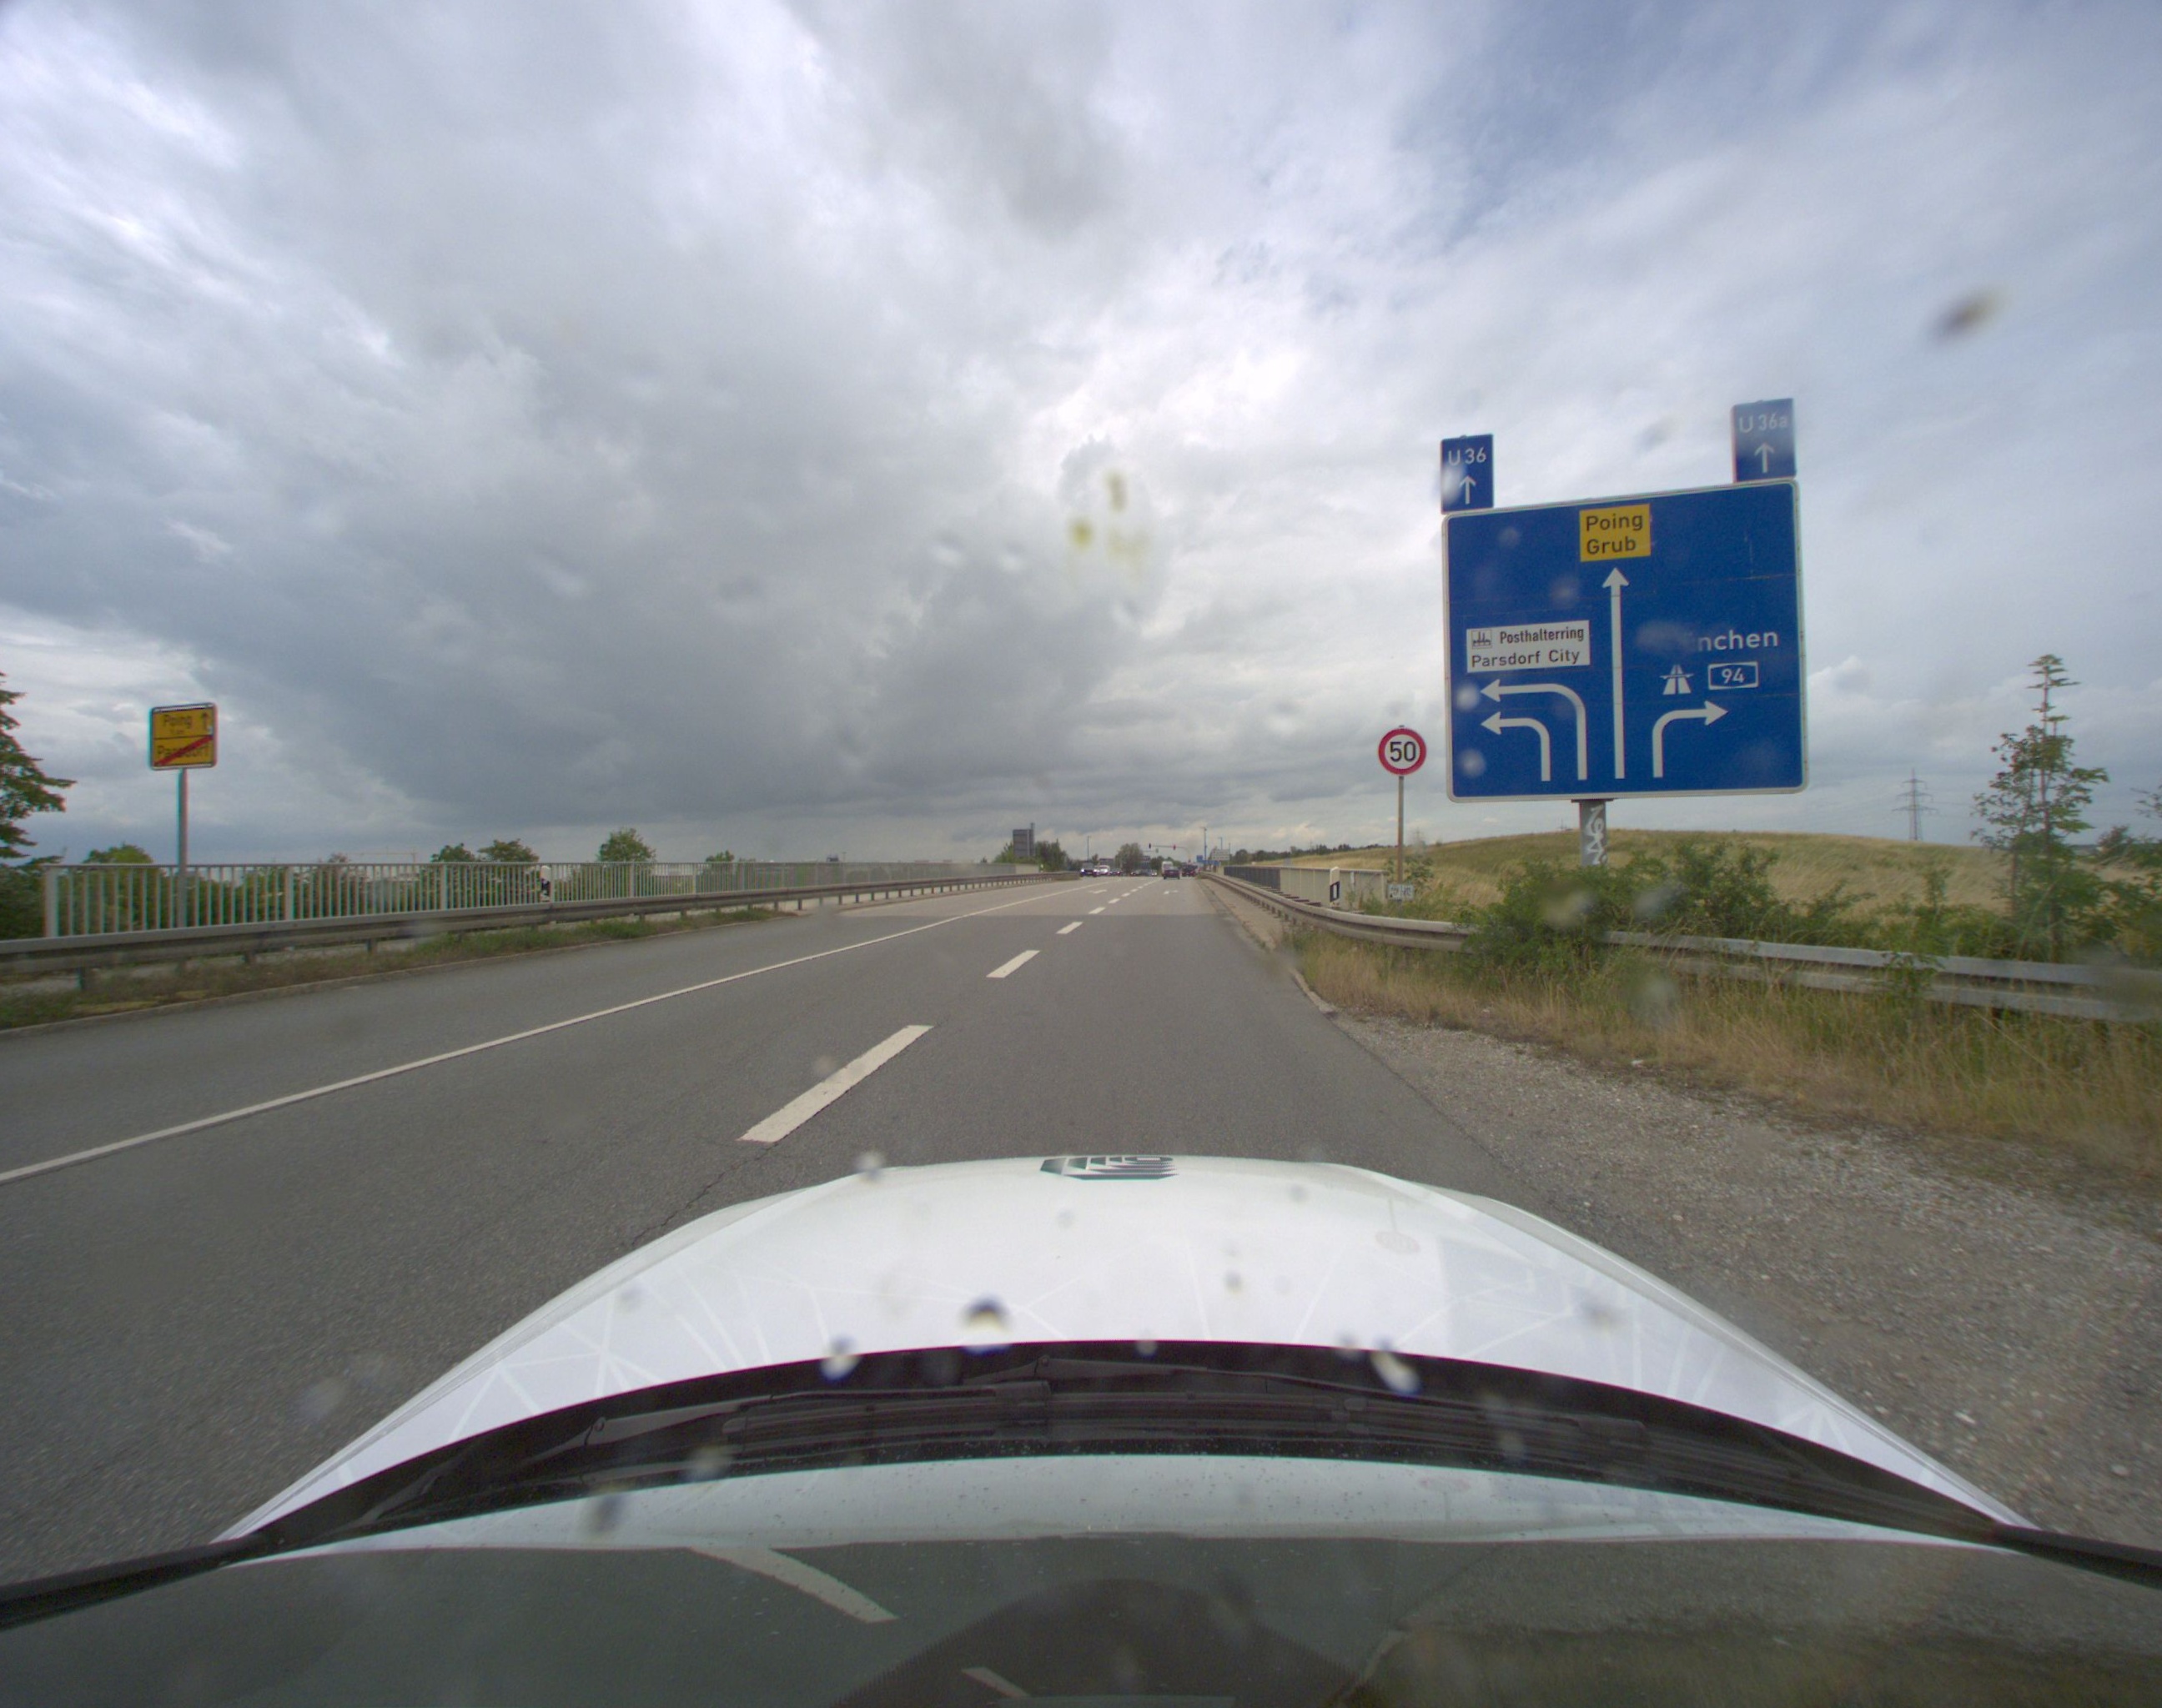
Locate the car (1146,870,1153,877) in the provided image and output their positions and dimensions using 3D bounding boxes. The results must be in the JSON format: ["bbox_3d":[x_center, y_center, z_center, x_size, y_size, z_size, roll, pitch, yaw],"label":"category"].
[{"bbox_3d":[16.812,4.709,199.700,1.685,1.368,3.950,0,2,6],"label":"car"}]

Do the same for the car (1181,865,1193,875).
[{"bbox_3d":[16.624,2.486,127.589,1.671,1.544,3.626,0,-1,11],"label":"car"}]

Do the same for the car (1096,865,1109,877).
[{"bbox_3d":[3.643,2.857,135.331,1.944,1.875,4.825,1,-2,4],"label":"car"}]

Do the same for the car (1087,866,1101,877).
[{"bbox_3d":[1.862,2.540,115.821,1.704,1.487,4.284,1,-2,4],"label":"car"}]

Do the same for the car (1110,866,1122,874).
[{"bbox_3d":[6.521,2.991,152.284,1.572,1.558,4.159,1,-1,12],"label":"car"}]

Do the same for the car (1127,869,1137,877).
[{"bbox_3d":[10.396,3.867,165.408,1.799,1.368,4.795,1,3,6],"label":"car"}]

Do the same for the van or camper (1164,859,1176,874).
[{"bbox_3d":[15.355,2.199,140.680,1.866,2.581,4.008,1,-1,7],"label":"van or camper"}]

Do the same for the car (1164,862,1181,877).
[{"bbox_3d":[9.416,1.616,83.861,1.509,1.485,3.624,0,-1,9],"label":"car"}]

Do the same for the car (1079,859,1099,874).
[{"bbox_3d":[1.045,1.588,101.514,1.983,1.732,4.769,3,-1,6],"label":"car"}]
